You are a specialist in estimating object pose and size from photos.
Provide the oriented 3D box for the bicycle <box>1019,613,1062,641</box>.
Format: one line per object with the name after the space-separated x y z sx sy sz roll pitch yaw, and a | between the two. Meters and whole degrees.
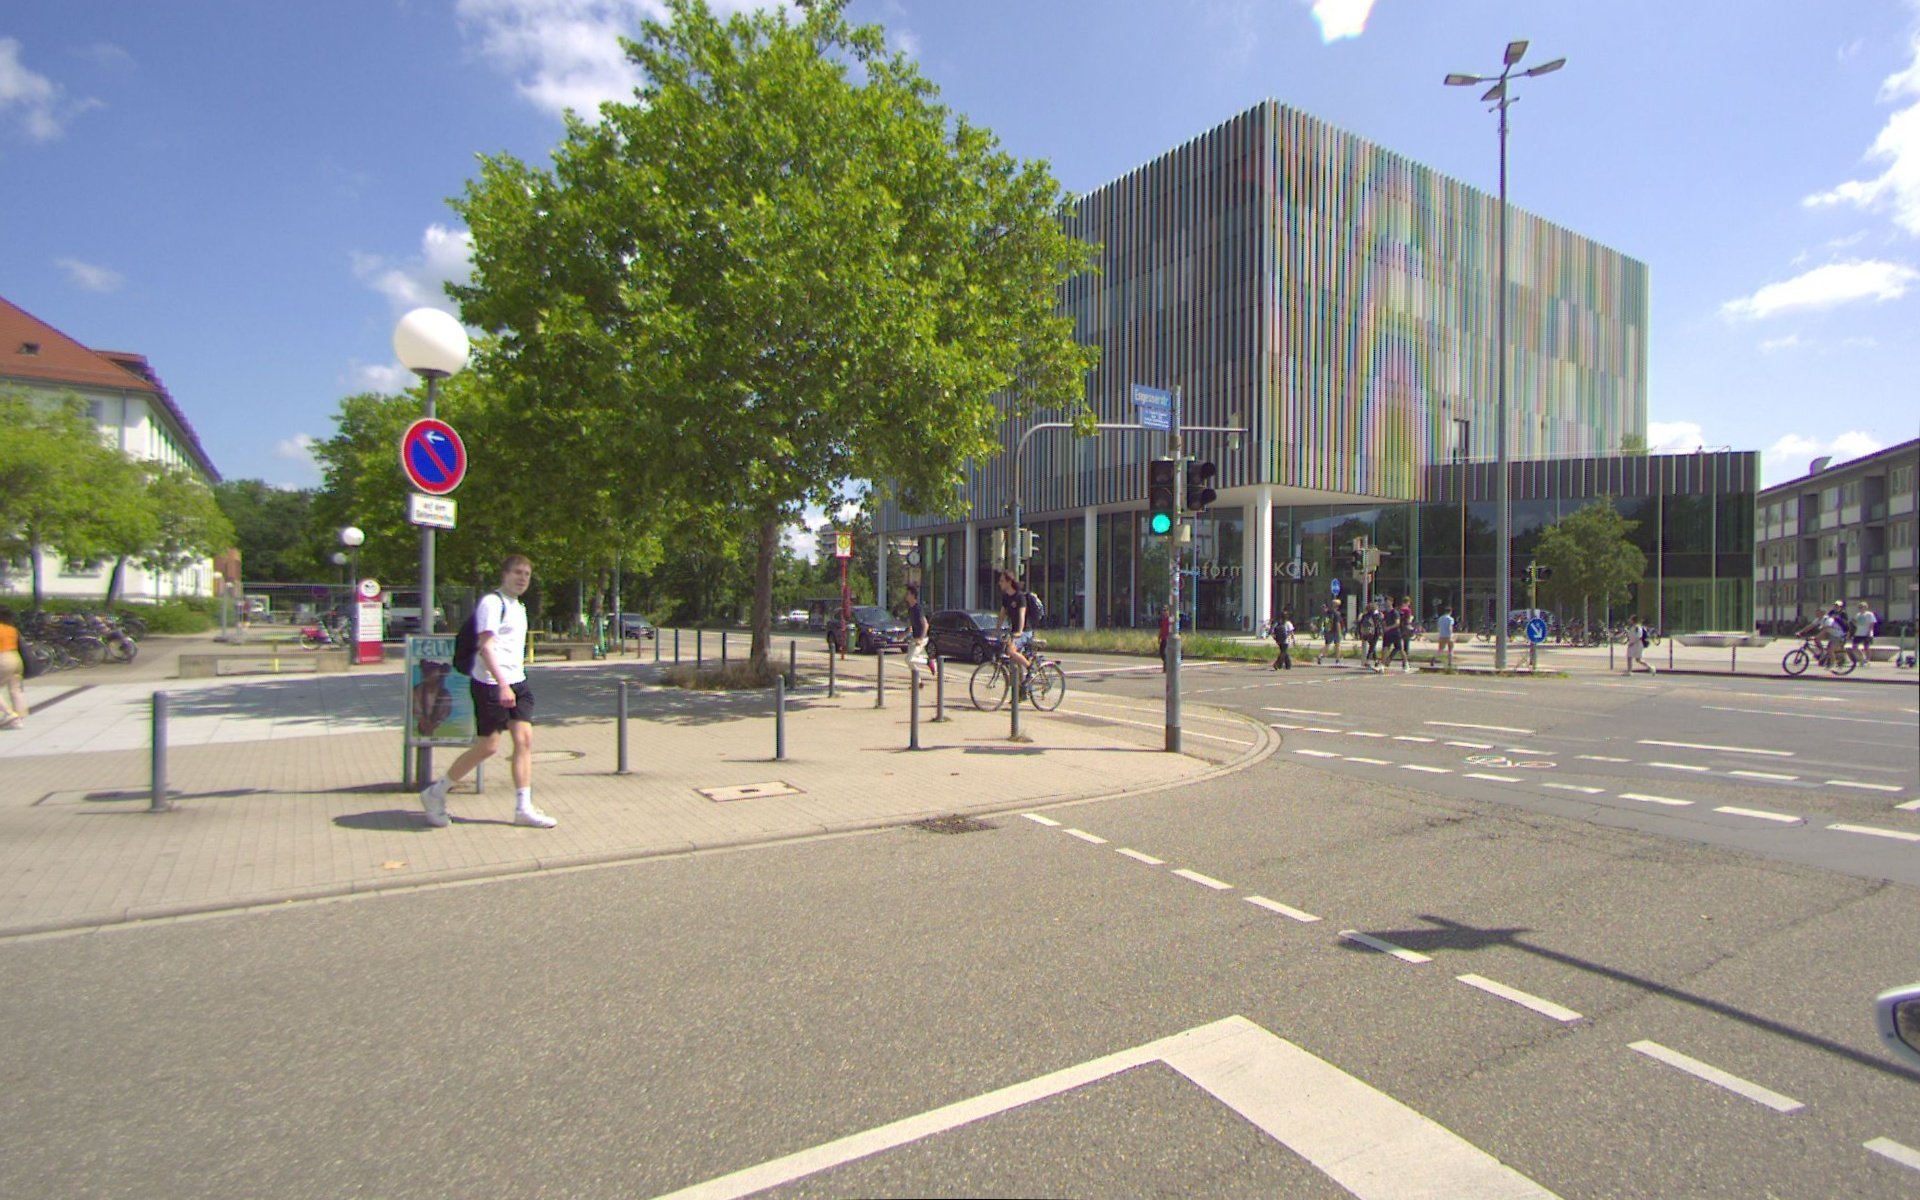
5.589 1.863 69.597 2.917 1.863 0.954 1 0 -31 | bicycle

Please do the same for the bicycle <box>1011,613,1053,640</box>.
5.085 1.858 70.498 2.917 1.863 0.954 1 0 -31 | bicycle

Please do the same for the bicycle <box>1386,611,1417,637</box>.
22.237 1.208 50.633 1.177 1.254 2.951 1 0 20 | bicycle

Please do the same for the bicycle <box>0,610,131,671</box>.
-22.127 0.971 24.373 2.915 1.430 1.057 1 0 -29 | bicycle

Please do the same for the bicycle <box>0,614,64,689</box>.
-19.611 0.990 19.655 2.915 1.438 1.010 1 0 -29 | bicycle

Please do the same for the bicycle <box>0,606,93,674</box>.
-20.618 0.847 21.514 2.915 1.430 1.010 1 0 -29 | bicycle

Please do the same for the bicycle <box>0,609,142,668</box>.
-22.645 0.966 25.345 2.915 1.430 1.057 1 0 -29 | bicycle

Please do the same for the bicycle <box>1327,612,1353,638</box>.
19.475 1.263 51.532 1.177 1.254 2.951 1 0 20 | bicycle

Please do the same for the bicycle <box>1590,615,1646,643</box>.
31.230 1.373 47.741 1.176 1.254 2.953 1 0 11 | bicycle

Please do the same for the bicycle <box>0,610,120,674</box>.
-21.590 0.976 23.409 2.915 1.430 1.057 1 0 -29 | bicycle

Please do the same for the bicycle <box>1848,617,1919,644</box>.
52.314 1.713 56.780 2.907 1.381 1.117 1 0 19 | bicycle

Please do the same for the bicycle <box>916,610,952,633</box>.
-2.133 1.784 82.632 2.920 1.863 0.953 1 0 -33 | bicycle

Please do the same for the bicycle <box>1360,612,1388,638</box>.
21.022 1.268 51.069 1.177 1.254 2.951 1 0 20 | bicycle

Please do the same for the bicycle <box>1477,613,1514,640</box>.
26.482 1.287 49.767 1.177 1.254 2.951 1 0 20 | bicycle

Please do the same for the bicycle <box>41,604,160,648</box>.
-29.347 0.885 34.388 2.915 1.430 1.057 1 0 -29 | bicycle

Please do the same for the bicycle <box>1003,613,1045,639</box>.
4.571 1.853 71.381 2.917 1.863 0.954 1 0 -31 | bicycle

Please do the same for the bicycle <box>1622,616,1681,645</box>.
32.497 1.412 47.286 1.176 1.254 2.953 1 0 11 | bicycle

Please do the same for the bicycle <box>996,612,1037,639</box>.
4.066 1.848 72.275 2.917 1.863 0.954 1 0 -31 | bicycle

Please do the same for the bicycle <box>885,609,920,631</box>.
-4.960 1.753 87.024 2.920 1.863 0.953 1 0 -33 | bicycle

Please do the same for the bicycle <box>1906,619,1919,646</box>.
50.524 1.680 51.332 2.907 1.381 1.117 1 0 19 | bicycle

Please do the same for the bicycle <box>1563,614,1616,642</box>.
30.128 1.323 48.136 1.176 1.254 2.953 1 0 11 | bicycle

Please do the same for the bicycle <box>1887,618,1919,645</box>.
50.994 1.699 52.914 2.907 1.381 1.276 1 0 19 | bicycle

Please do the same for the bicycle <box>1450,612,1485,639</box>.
25.319 1.254 50.164 1.177 1.254 2.951 1 0 20 | bicycle

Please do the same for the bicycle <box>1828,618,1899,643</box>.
53.205 1.780 59.193 2.907 1.381 1.117 1 0 19 | bicycle

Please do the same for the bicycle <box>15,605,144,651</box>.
-28.228 0.895 32.275 2.915 1.430 1.057 1 0 -29 | bicycle

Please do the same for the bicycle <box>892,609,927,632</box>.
-4.316 1.760 86.035 2.920 1.863 0.953 1 0 -33 | bicycle

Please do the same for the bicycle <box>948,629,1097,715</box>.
0.914 1.049 14.615 1.998 1.137 0.768 4 -2 -24 | bicycle

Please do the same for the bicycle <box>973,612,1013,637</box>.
2.457 1.832 75.089 2.918 1.863 0.954 1 0 -32 | bicycle

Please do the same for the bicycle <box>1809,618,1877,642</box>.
53.987 1.809 61.449 2.907 1.381 1.117 1 0 19 | bicycle

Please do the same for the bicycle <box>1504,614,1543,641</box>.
27.611 1.304 49.278 1.177 1.254 2.951 1 0 19 | bicycle

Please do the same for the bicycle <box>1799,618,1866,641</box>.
54.716 1.833 63.029 2.907 1.381 1.117 1 0 19 | bicycle

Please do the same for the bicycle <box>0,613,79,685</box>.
-20.112 0.986 20.587 2.915 1.435 1.010 1 0 -29 | bicycle

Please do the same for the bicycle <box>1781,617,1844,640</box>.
56.196 1.868 66.255 2.907 1.381 1.117 1 0 19 | bicycle

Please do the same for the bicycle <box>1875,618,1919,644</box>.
51.407 1.682 54.129 2.907 1.381 1.117 1 0 19 | bicycle

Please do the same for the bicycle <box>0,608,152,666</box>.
-23.178 0.961 26.336 2.915 1.430 1.057 1 0 -29 | bicycle

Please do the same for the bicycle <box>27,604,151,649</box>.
-28.804 0.889 33.303 2.915 1.430 1.057 1 0 -29 | bicycle

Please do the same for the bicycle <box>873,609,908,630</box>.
-6.128 1.726 88.831 2.920 1.863 0.953 1 0 -33 | bicycle

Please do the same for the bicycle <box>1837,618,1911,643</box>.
52.761 1.759 58.012 2.907 1.381 1.117 1 0 19 | bicycle

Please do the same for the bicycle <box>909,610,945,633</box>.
-2.717 1.778 83.592 2.920 1.863 0.953 1 0 -33 | bicycle

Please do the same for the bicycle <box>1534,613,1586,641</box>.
28.882 1.285 48.401 1.176 1.254 2.953 1 0 11 | bicycle

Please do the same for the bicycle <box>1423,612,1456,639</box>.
24.128 1.262 50.583 1.177 1.254 2.951 1 0 20 | bicycle

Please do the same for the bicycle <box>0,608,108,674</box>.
-21.096 0.898 22.477 2.915 1.430 1.010 1 0 -29 | bicycle

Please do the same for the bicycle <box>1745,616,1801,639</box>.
58.933 1.975 72.820 2.907 1.595 1.117 1 0 19 | bicycle

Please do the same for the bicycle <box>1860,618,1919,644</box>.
51.876 1.694 55.529 2.907 1.381 1.117 1 0 19 | bicycle
